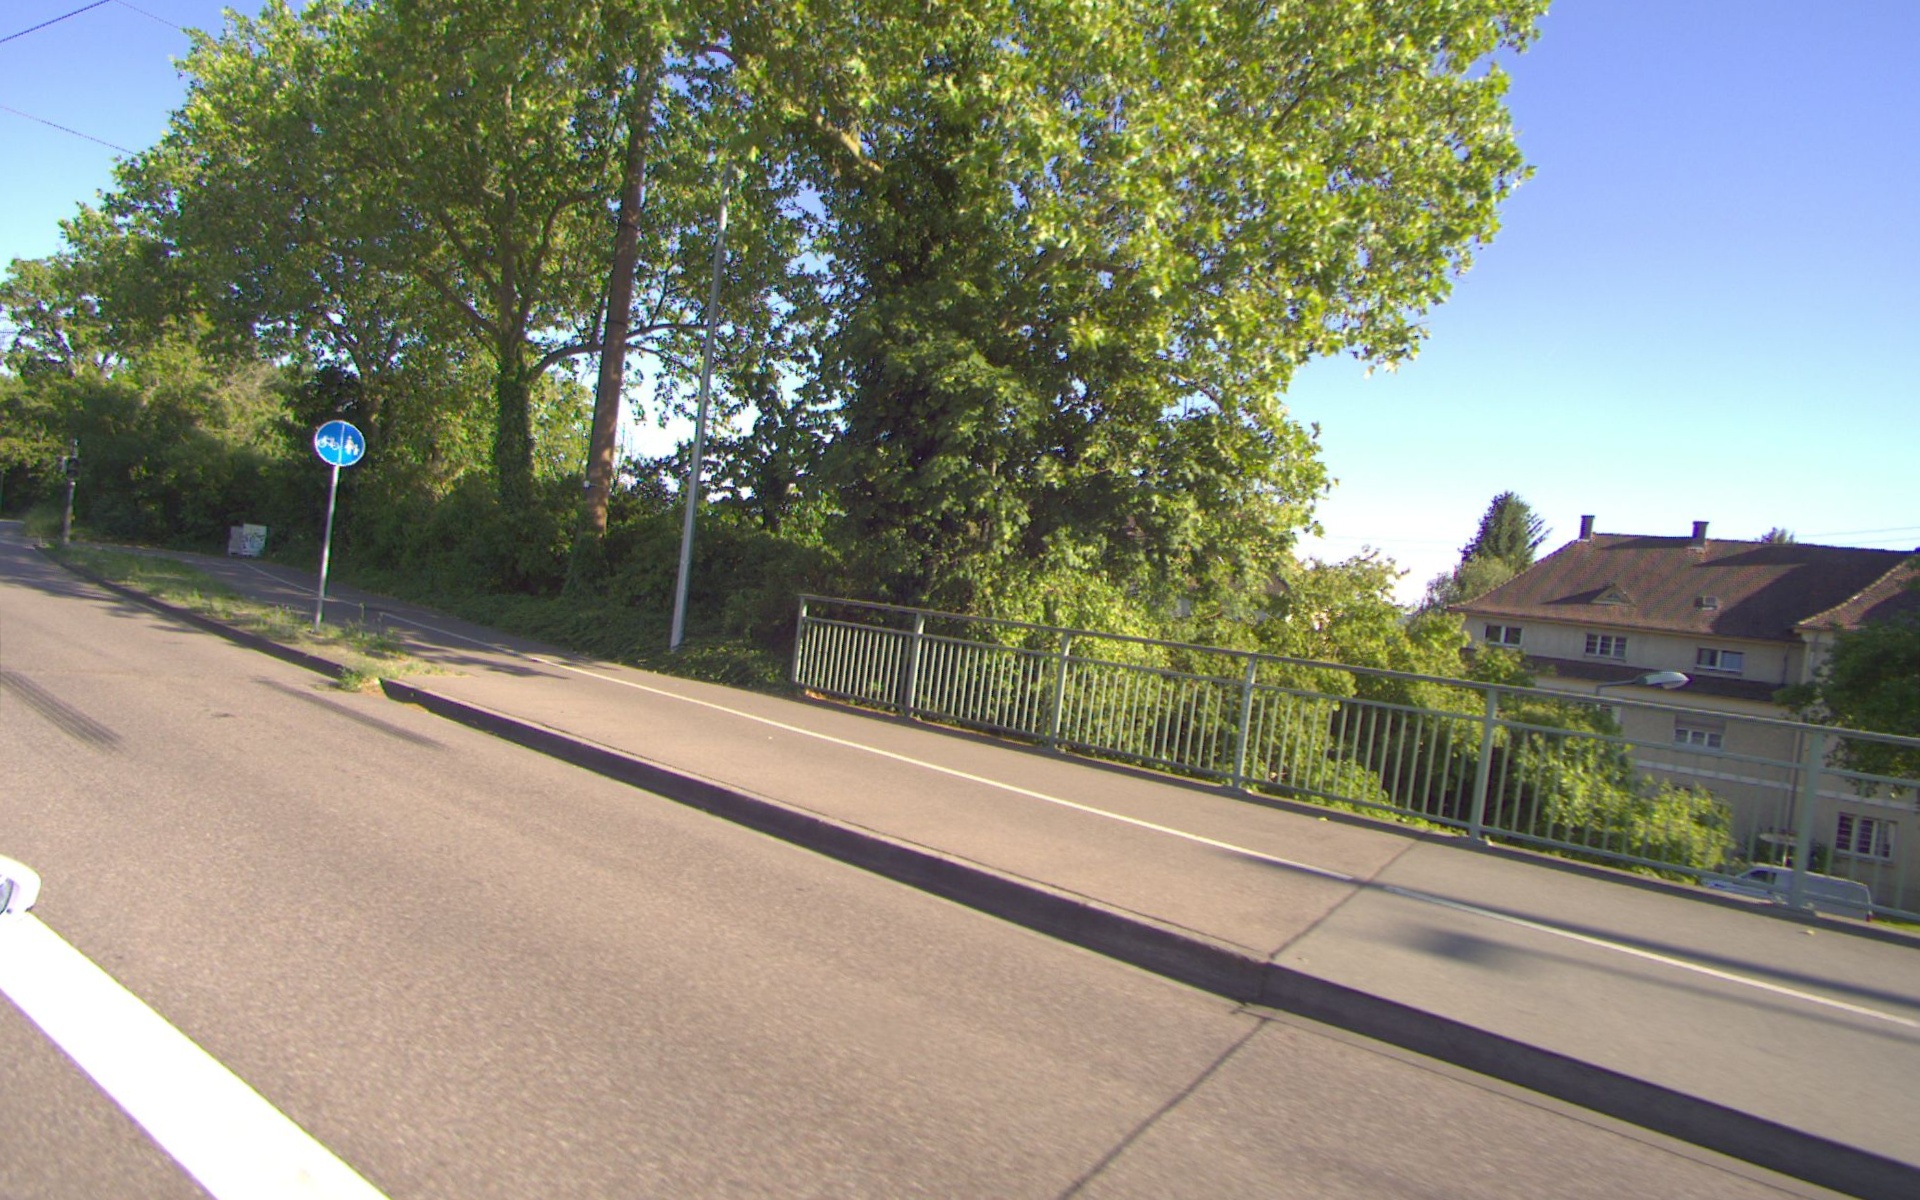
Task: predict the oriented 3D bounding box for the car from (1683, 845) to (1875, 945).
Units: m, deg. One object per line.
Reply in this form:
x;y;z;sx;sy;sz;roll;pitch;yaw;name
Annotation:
28.058;10.072;34.694;4.750;2.047;1.856;7;-5;32;car
